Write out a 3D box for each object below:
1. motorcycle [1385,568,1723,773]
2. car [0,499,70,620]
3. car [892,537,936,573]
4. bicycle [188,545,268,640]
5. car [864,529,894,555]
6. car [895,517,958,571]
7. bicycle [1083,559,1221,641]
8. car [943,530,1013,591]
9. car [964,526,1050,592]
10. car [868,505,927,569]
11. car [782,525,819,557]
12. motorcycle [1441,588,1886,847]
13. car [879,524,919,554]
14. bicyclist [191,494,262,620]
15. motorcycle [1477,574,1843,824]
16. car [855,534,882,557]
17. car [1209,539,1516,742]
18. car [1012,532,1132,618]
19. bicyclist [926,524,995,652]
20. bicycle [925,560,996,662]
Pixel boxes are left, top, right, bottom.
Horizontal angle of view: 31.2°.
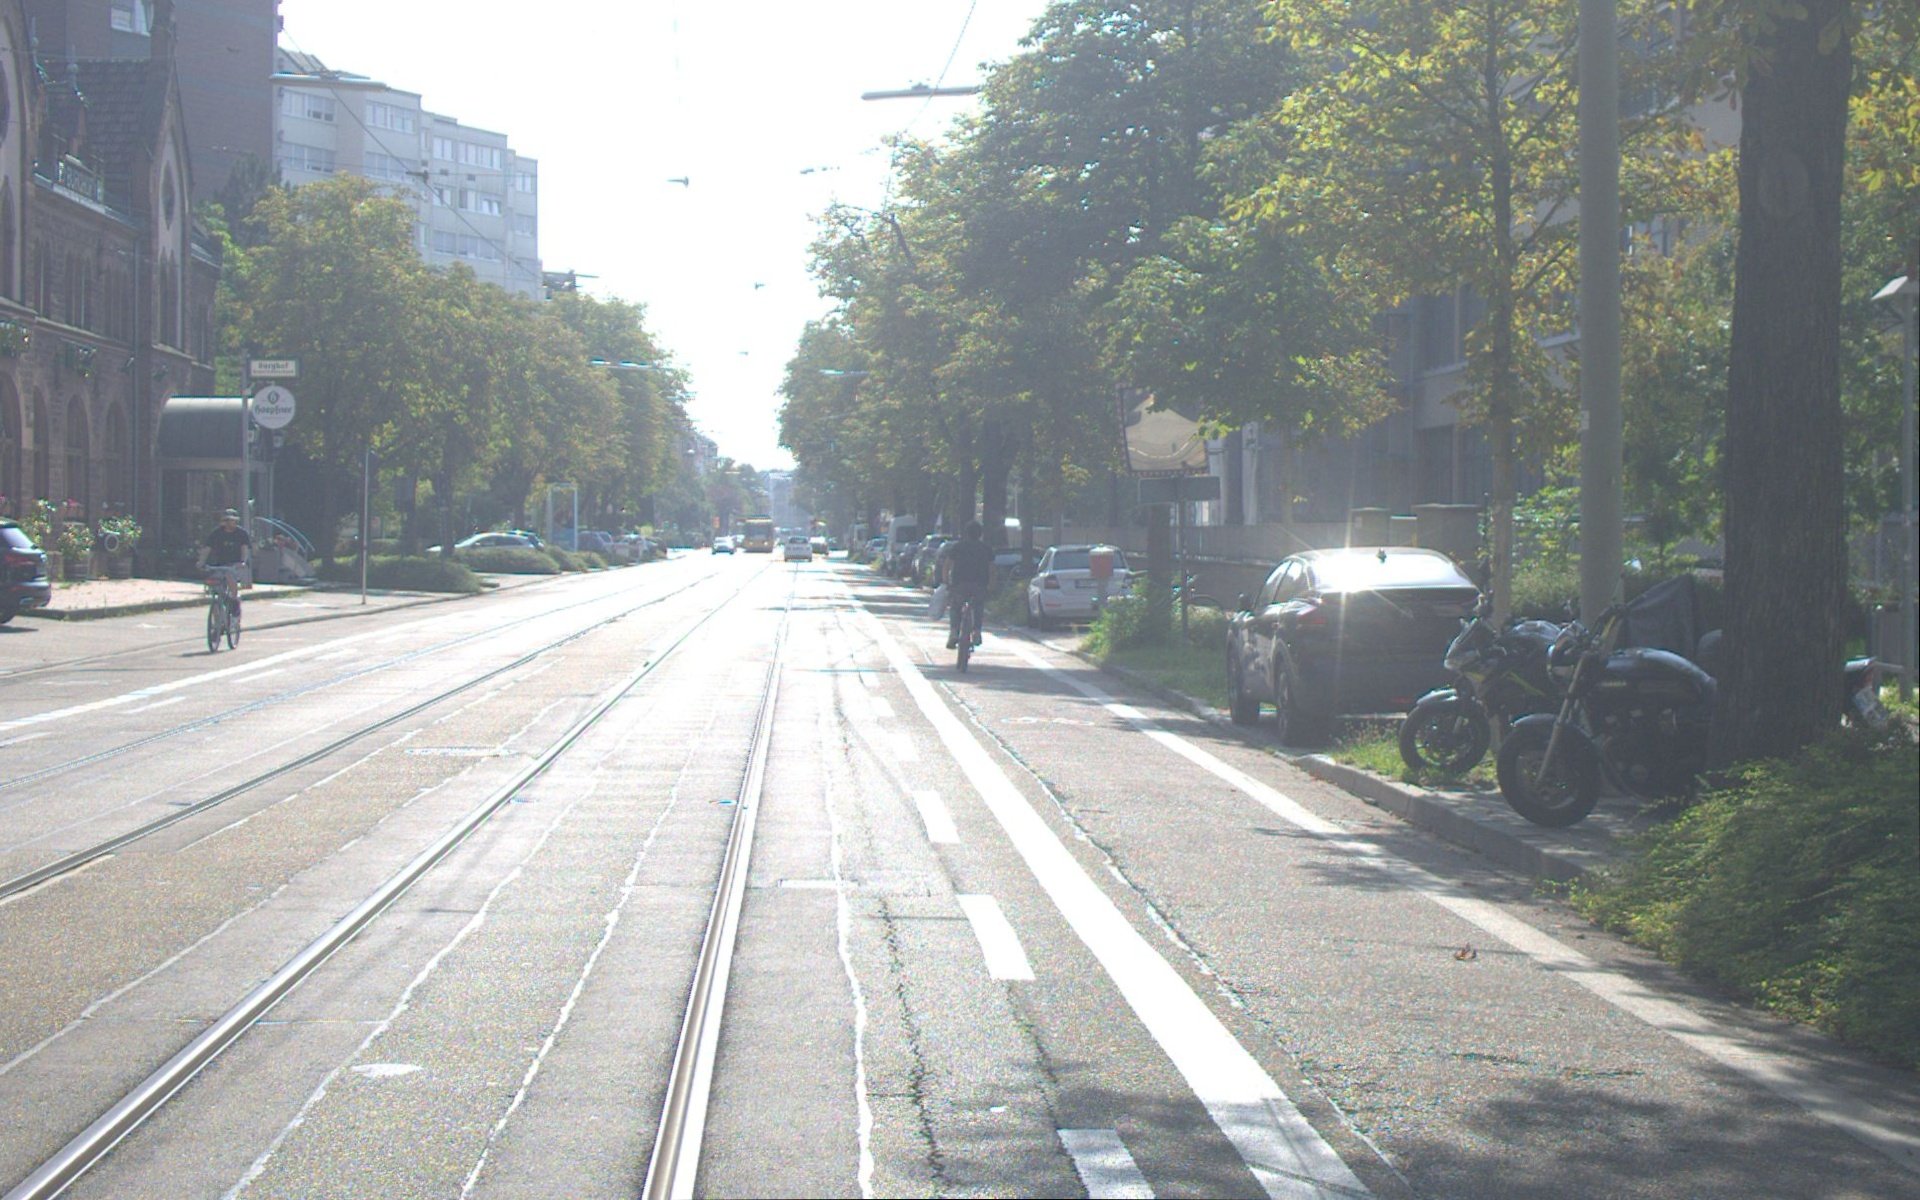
[{"bbox_3d":[3.723,0.420,21.568,1.985,1.221,0.645,1,1,23],"label":"motorcycle"},{"bbox_3d":[-15.129,-0.714,48.975,4.396,1.640,1.957,4,1,-5],"label":"car"},{"bbox_3d":[-1.801,-1.771,133.435,1.616,1.369,4.828,0,1,-2],"label":"car"},{"bbox_3d":[-9.423,-0.111,44.311,0.697,1.154,2.038,-2,1,-5],"label":"bicycle"},{"bbox_3d":[-4.632,-3.317,196.194,1.689,1.413,3.634,1,1,-2],"label":"car"},{"bbox_3d":[-1.116,-1.843,112.483,1.753,1.685,4.397,1,1,-4],"label":"car"},{"bbox_3d":[2.617,-0.004,46.852,1.768,1.060,0.796,-1,1,-4],"label":"bicycle"},{"bbox_3d":[0.449,-1.035,89.469,1.646,1.506,3.779,-1,1,-2],"label":"car"},{"bbox_3d":[1.033,-0.942,77.688,1.646,1.423,4.086,0,1,-4],"label":"car"},{"bbox_3d":[-2.635,-2.624,143.730,2.082,2.544,5.502,-3,1,-4],"label":"car"},{"bbox_3d":[-9.239,-3.414,199.175,1.993,1.831,4.000,1,1,-1],"label":"car"},{"bbox_3d":[3.596,0.573,17.657,2.064,1.238,0.843,0,1,36],"label":"motorcycle"},{"bbox_3d":[-2.910,-2.895,162.639,1.753,1.373,4.719,-1,1,-2],"label":"car"},{"bbox_3d":[-9.454,-0.555,44.314,0.697,1.575,1.087,-2,1,-5],"label":"bicyclist"},{"bbox_3d":[3.937,0.521,19.505,0.842,1.322,2.067,-1,1,-31],"label":"motorcycle"},{"bbox_3d":[-5.588,-3.332,209.910,1.594,1.413,3.634,1,1,-2],"label":"car"},{"bbox_3d":[3.261,0.270,28.668,1.740,1.481,4.438,-1,2,-4],"label":"car"},{"bbox_3d":[1.904,-0.452,59.277,1.640,1.425,3.990,0,1,-4],"label":"car"},{"bbox_3d":[0.000,-0.152,40.131,0.787,1.465,1.116,1,1,-1],"label":"bicyclist"},{"bbox_3d":[-0.008,0.114,40.143,0.787,1.140,2.305,1,1,-1],"label":"bicycle"}]
